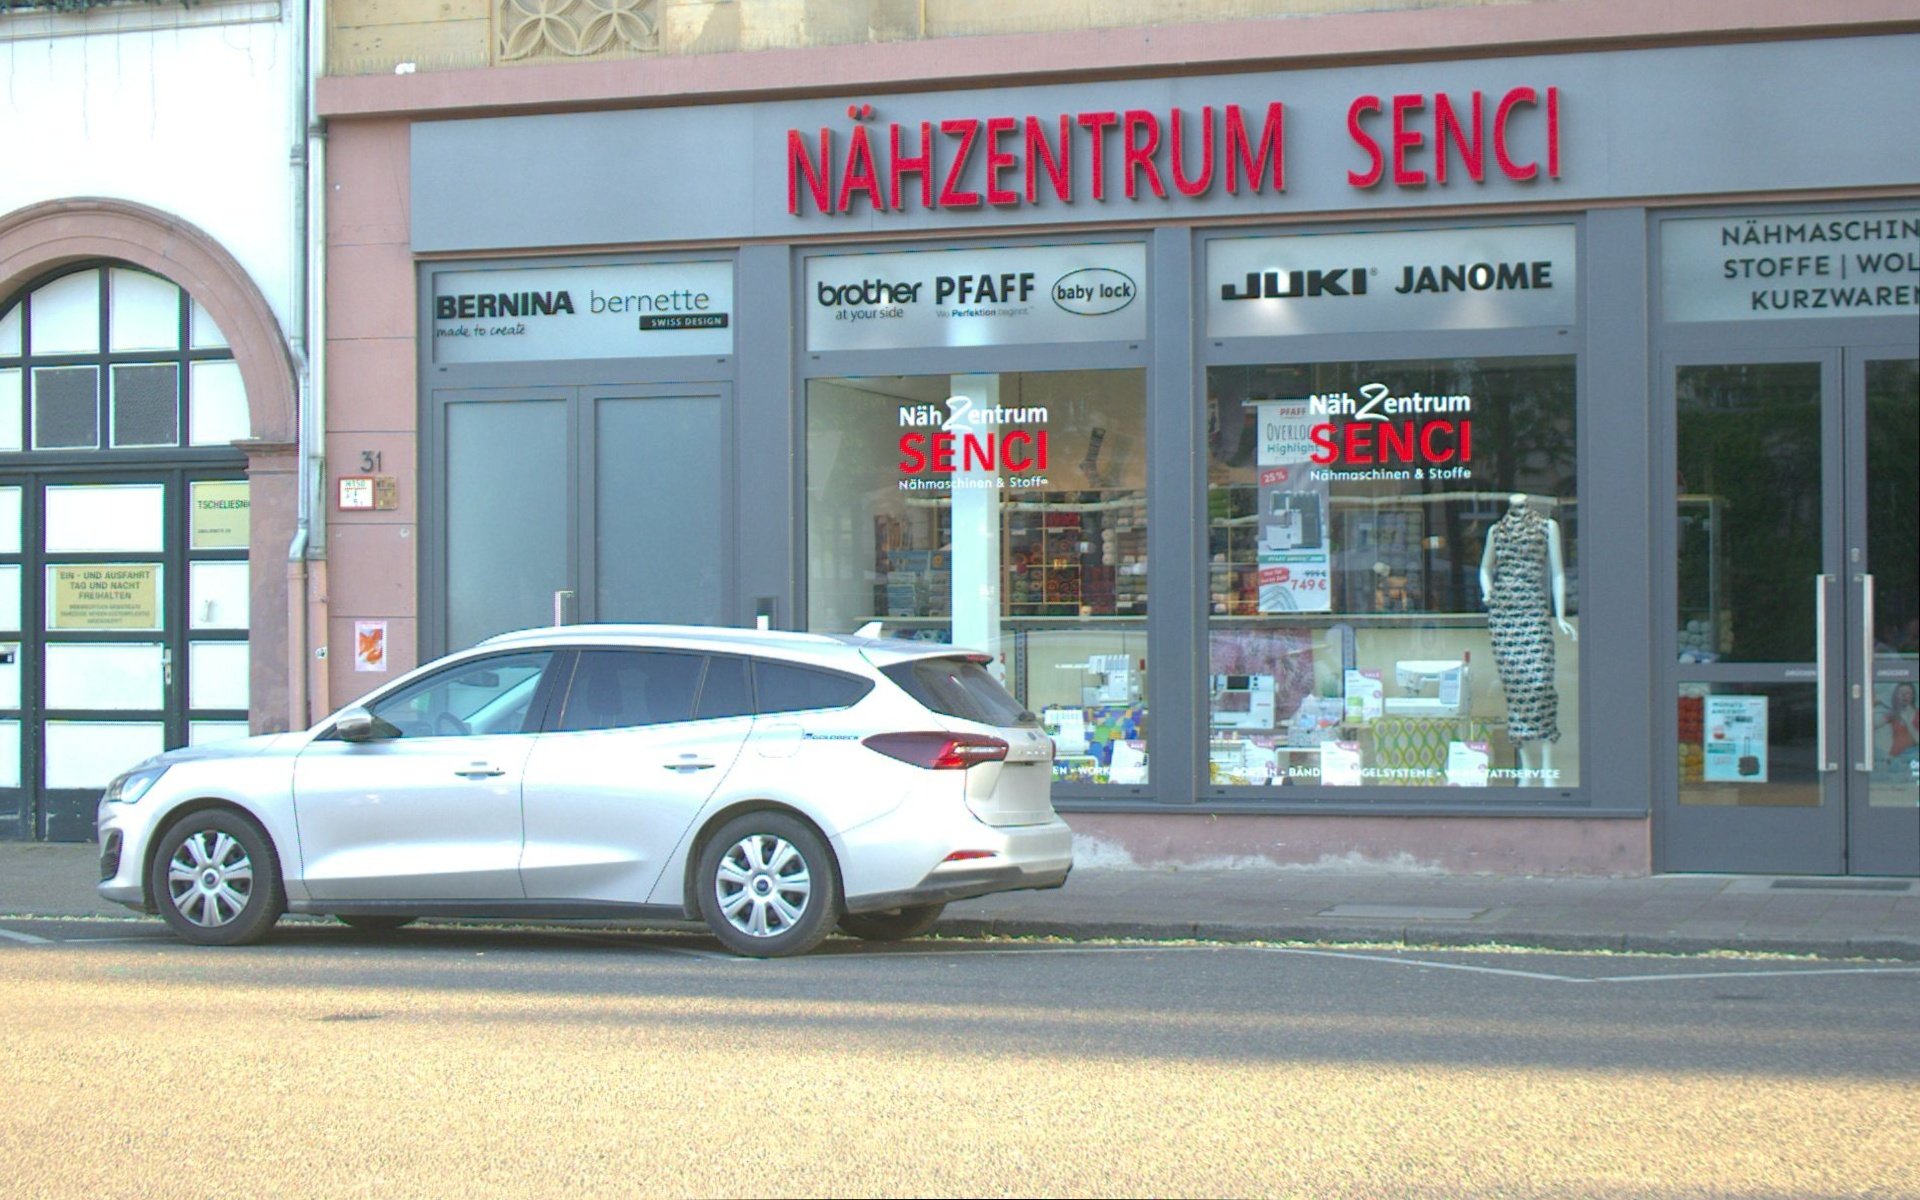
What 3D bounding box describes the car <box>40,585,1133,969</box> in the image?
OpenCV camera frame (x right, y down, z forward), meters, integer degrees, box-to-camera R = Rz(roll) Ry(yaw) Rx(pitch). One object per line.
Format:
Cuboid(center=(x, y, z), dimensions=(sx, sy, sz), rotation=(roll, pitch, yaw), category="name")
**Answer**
Cuboid(center=(-1.718, 0.749, 16.152), dimensions=(4.671, 1.530, 1.998), rotation=(1, 0, 18), category="car")
